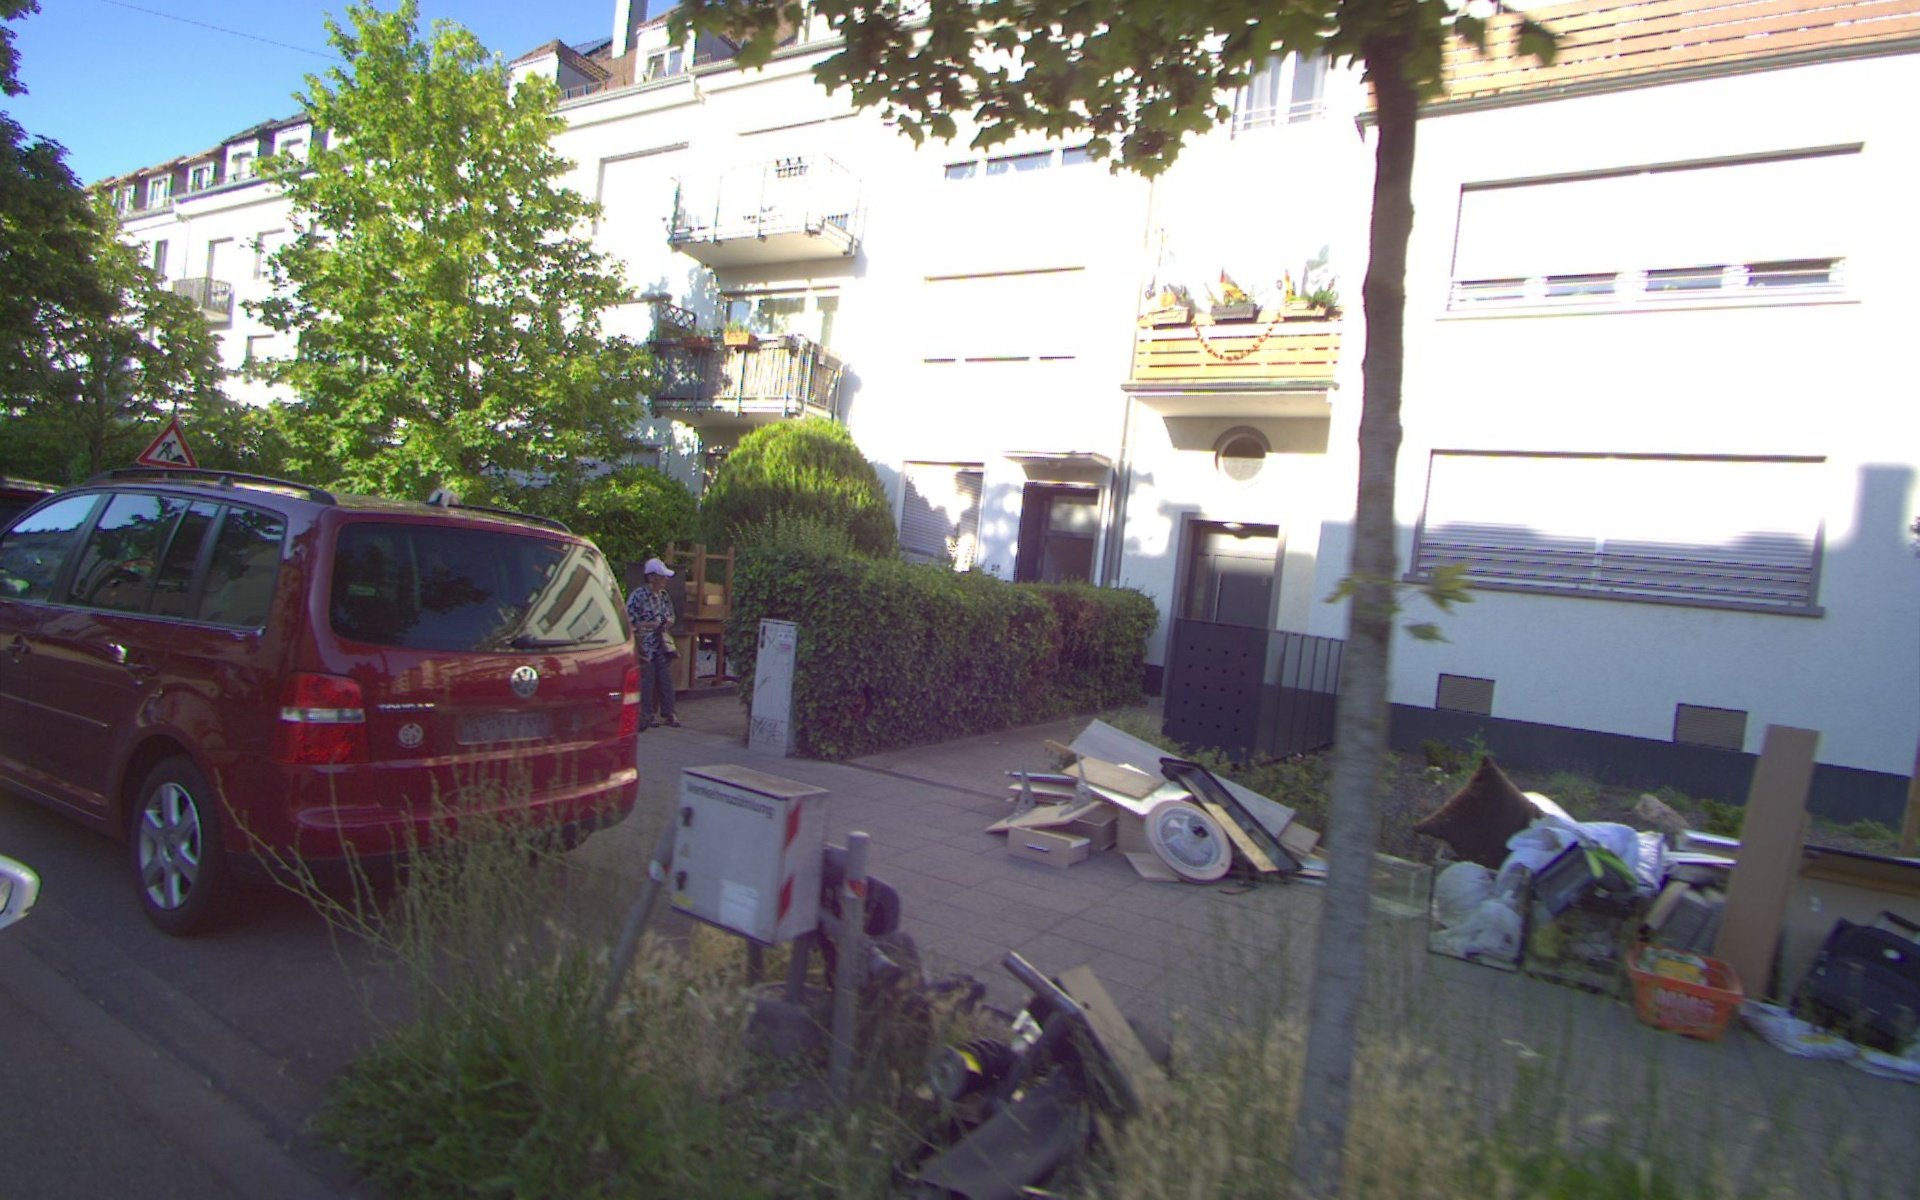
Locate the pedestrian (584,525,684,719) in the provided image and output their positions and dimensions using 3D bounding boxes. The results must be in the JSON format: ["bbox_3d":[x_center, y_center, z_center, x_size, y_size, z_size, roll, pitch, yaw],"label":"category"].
[{"bbox_3d":[-3.033,0.209,9.375,0.518,1.718,0.511,7,1,27],"label":"pedestrian"}]

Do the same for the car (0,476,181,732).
[{"bbox_3d":[-7.557,-0.156,7.329,3.934,1.589,1.637,7,1,32],"label":"car"}]

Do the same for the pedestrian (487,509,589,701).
[{"bbox_3d":[-3.956,0.055,9.446,0.518,1.718,0.511,7,1,27],"label":"pedestrian"}]

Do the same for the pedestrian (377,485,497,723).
[{"bbox_3d":[-4.378,0.019,8.417,0.753,1.874,0.547,7,4,38],"label":"pedestrian"}]

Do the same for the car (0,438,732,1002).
[{"bbox_3d":[-3.503,0.230,4.919,4.518,1.676,1.725,7,0,29],"label":"car"}]
